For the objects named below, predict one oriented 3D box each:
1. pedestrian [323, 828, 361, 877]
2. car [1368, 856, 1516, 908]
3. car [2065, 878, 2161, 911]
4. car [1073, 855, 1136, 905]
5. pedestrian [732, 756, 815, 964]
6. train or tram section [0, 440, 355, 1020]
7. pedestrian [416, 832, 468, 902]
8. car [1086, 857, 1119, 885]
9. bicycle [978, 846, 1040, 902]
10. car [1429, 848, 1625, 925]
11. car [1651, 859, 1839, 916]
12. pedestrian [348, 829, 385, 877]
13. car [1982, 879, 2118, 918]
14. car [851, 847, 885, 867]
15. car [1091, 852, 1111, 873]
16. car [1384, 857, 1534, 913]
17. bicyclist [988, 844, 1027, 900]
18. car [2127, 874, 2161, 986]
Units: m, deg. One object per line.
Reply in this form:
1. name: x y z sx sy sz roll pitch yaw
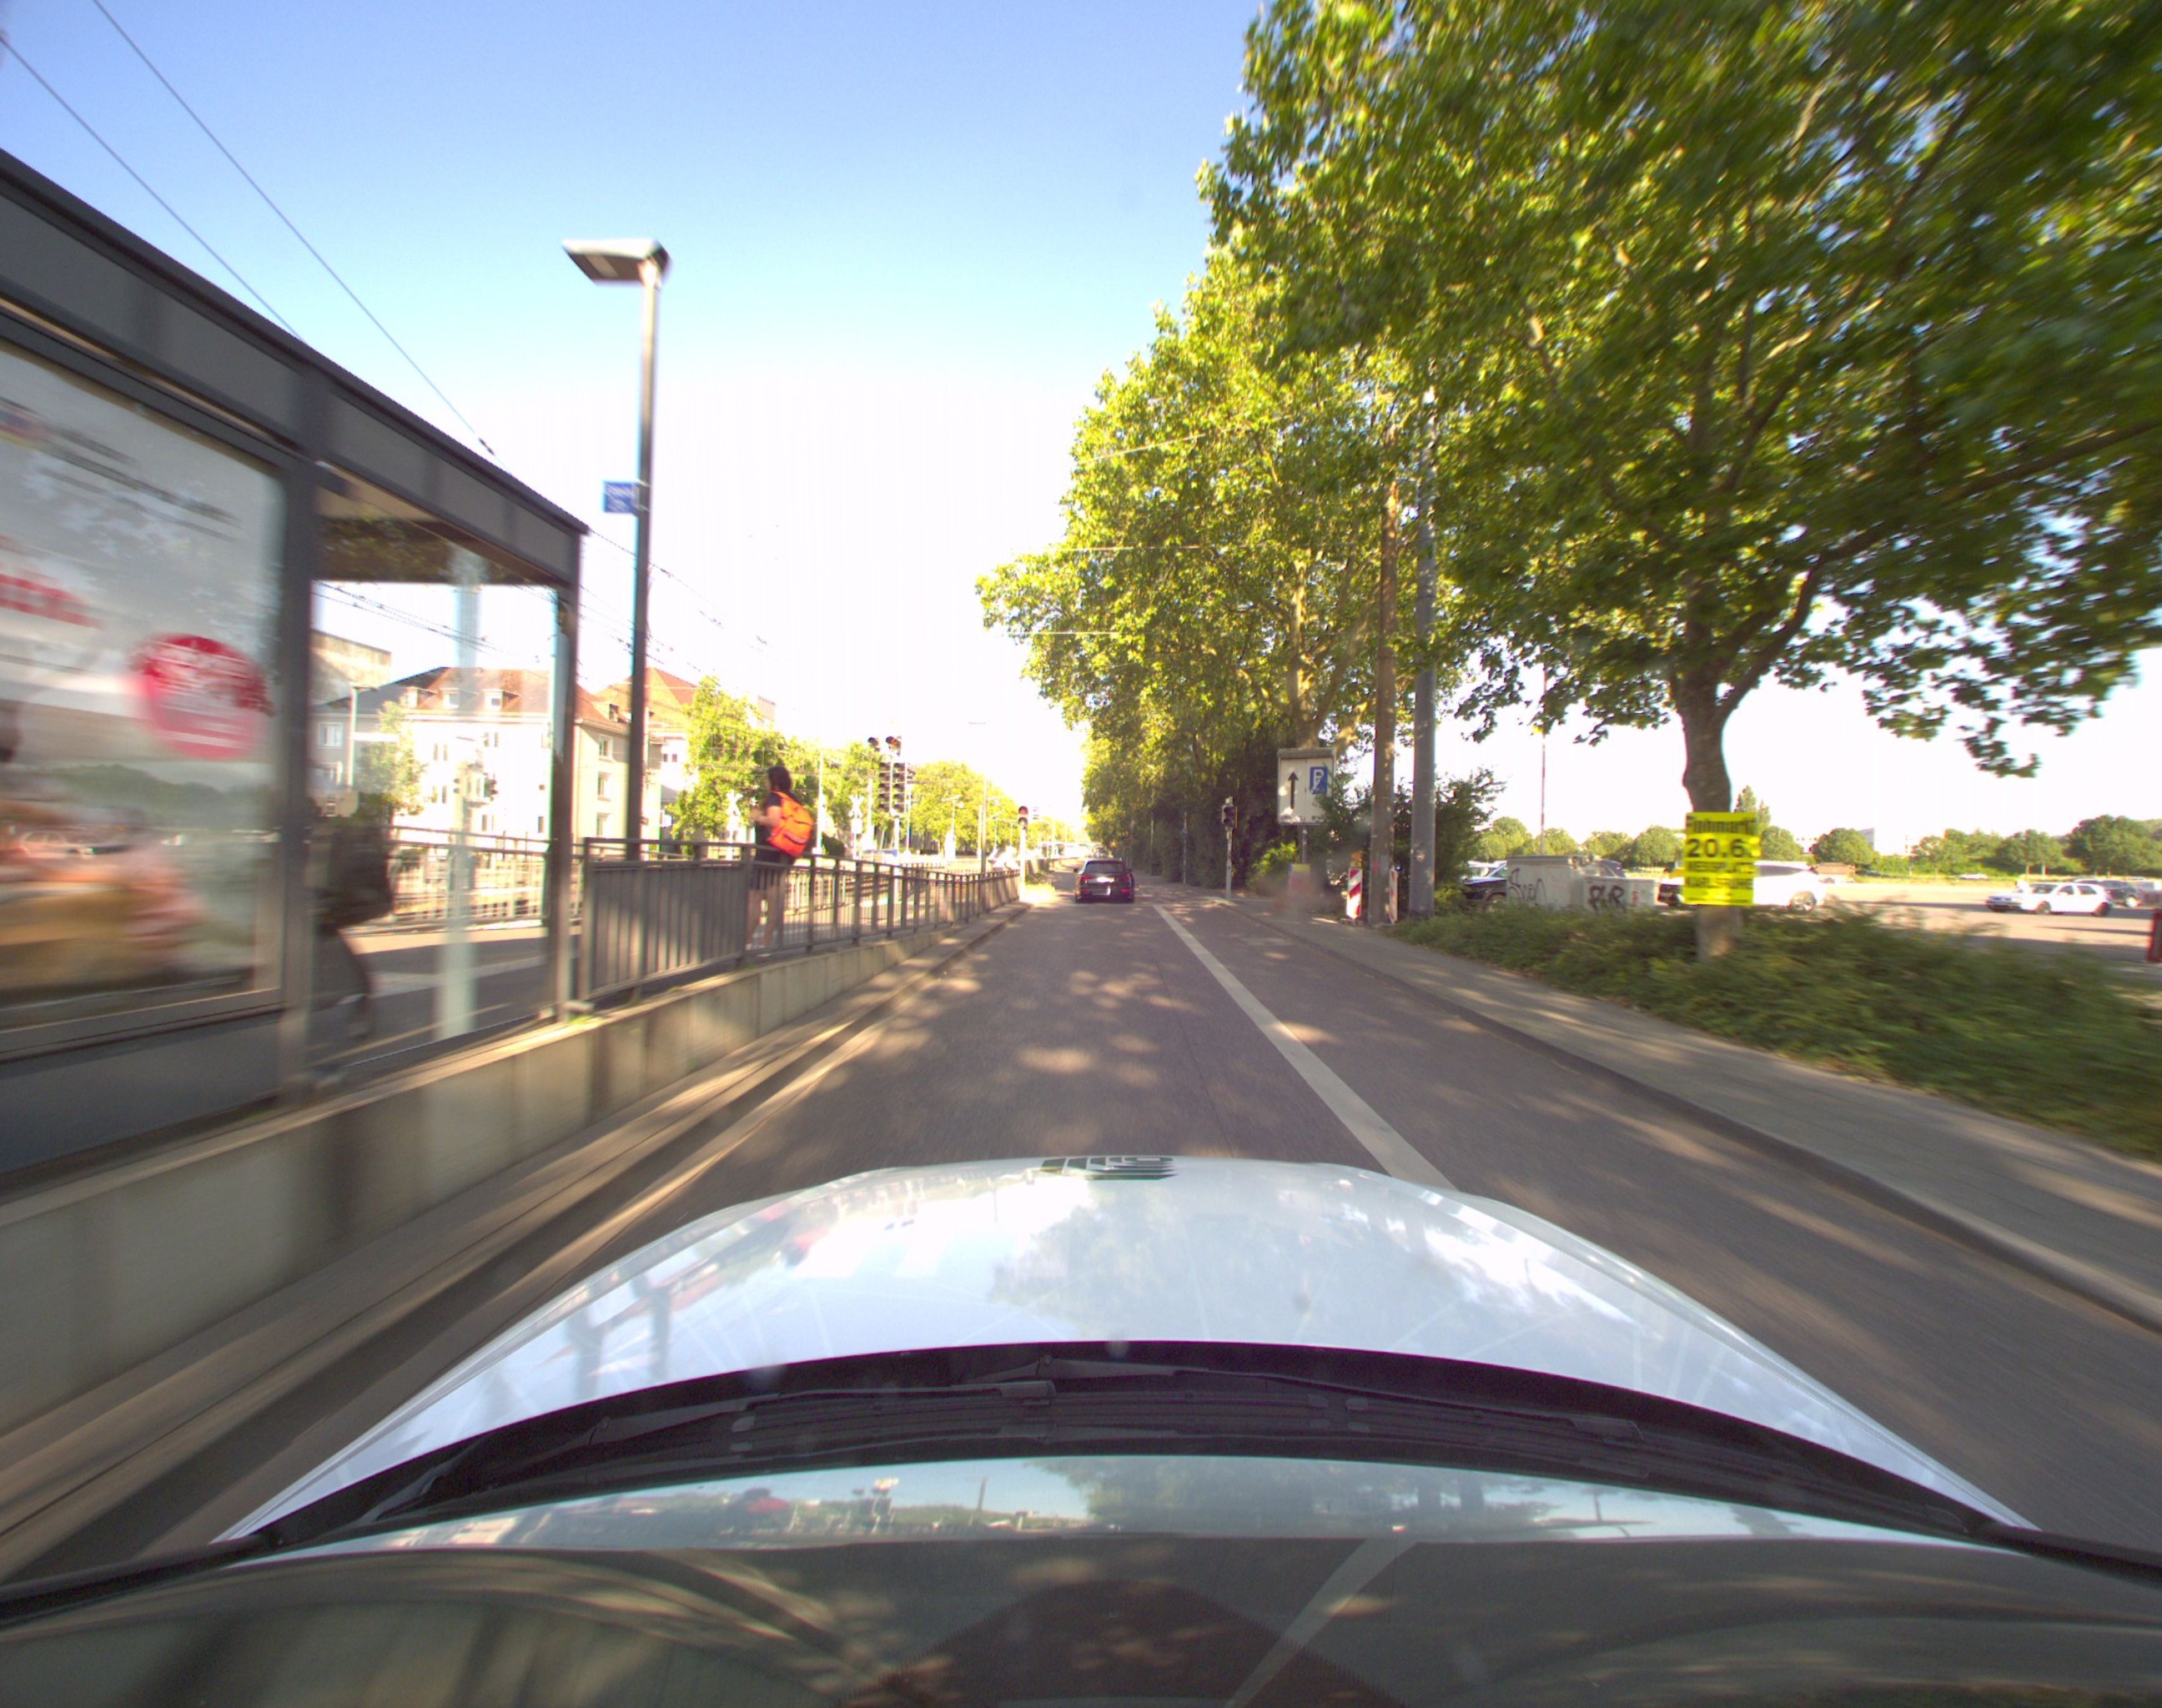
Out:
1. pedestrian: -26.371 -0.049 29.072 0.661 1.717 0.671 1 0 -1
2. car: 11.359 0.862 25.808 3.871 1.505 1.889 1 0 2
3. car: 54.073 2.108 42.252 3.976 1.540 1.781 1 0 -2
4. car: 0.703 0.794 26.456 1.873 1.457 3.355 0 0 -1
5. pedestrian: -2.665 0.048 7.109 0.410 1.717 0.666 1 0 1
6. train or tram section: -8.860 -0.855 1.985 3.297 3.829 11.845 1 0 1
7. pedestrian: -16.130 0.329 20.560 0.664 1.717 0.727 1 0 13
8. car: 1.253 0.994 49.310 1.757 1.619 3.998 1 0 -1
9. bicycle: -2.281 0.633 26.017 1.984 1.717 0.584 2 0 -44
10. car: 11.178 0.783 20.629 3.972 1.764 1.834 1 0 1
11. car: 21.520 1.044 26.539 4.437 1.658 1.920 1 0 5
12. pedestrian: -25.683 -0.034 29.292 0.661 1.717 0.671 1 0 -1
13. car: 41.914 1.908 35.275 3.977 1.525 1.726 1 0 -3
14. car: -18.069 0.266 69.231 1.733 1.547 4.000 2 0 1
15. car: 2.049 0.877 83.868 1.986 2.013 4.001 1 0 1
16. car: 10.870 0.862 23.592 3.580 1.462 1.679 1 0 2
17. bicyclist: -2.336 0.571 25.946 0.914 1.717 0.761 2 -1 -44
18. car: 15.532 1.058 9.593 1.608 1.515 3.804 1 0 1
